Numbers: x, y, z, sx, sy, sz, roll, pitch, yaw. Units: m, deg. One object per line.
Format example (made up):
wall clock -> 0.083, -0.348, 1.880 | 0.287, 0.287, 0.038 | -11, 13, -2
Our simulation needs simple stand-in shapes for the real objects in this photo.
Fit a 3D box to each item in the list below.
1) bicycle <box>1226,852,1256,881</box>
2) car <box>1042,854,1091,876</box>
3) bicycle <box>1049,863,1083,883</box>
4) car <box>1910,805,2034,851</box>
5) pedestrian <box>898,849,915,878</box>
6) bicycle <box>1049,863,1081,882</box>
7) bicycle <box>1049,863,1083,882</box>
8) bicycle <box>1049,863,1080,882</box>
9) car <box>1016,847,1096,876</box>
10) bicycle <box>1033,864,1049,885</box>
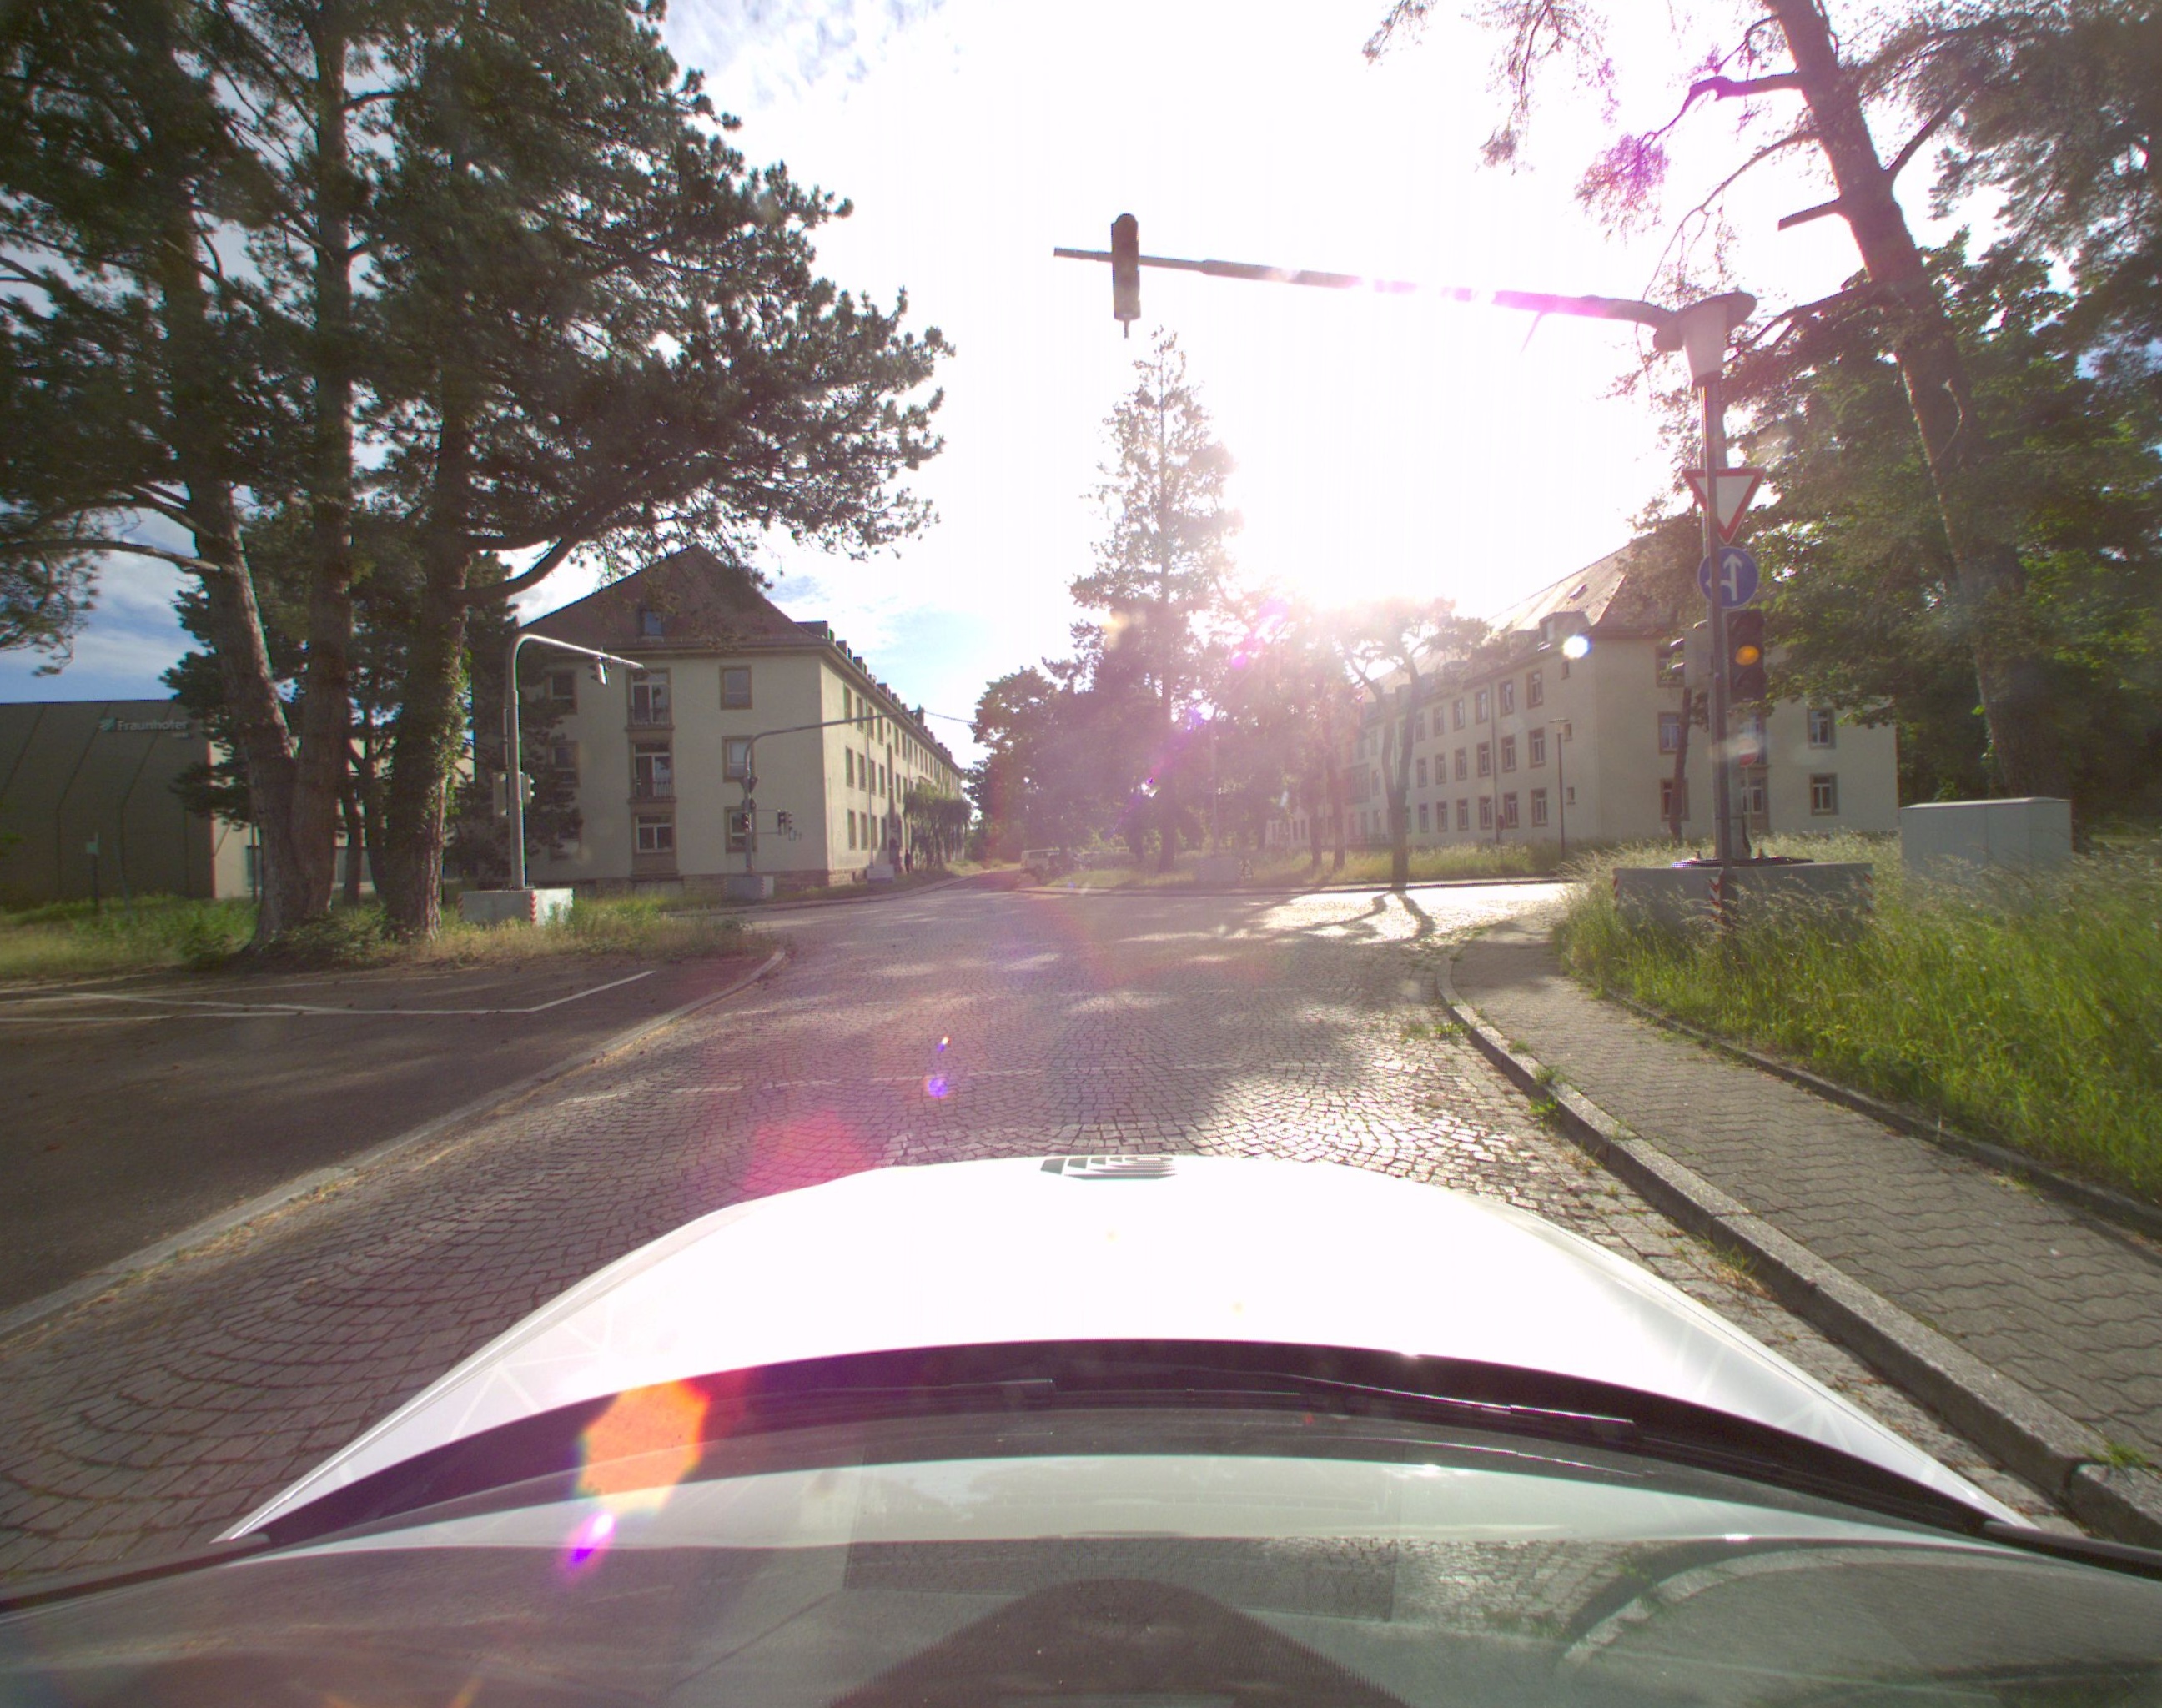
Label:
bicycle -> 5.992, 0.461, 30.632 | 0.561, 0.999, 1.748 | -2, 1, -7
car -> -1.019, 0.777, 56.777 | 3.038, 1.465, 1.711 | -2, -1, -16
bicycle -> -0.796, 1.018, 44.411 | 1.789, 0.999, 0.643 | -2, 1, -4
car -> 54.263, -1.568, 49.659 | 5.145, 2.536, 2.262 | -2, -1, -2
pedestrian -> -12.037, 0.641, 56.111 | 0.983, 1.963, 0.931 | -2, -1, -4
bicycle -> -0.949, 1.050, 46.924 | 1.789, 0.999, 0.643 | -2, 1, -4
bicycle -> -0.845, 1.032, 45.429 | 1.789, 0.999, 0.643 | -2, 1, -4
bicycle -> -0.976, 1.058, 47.662 | 1.789, 0.999, 0.643 | -2, 1, -4
car -> -1.859, 0.537, 60.300 | 5.514, 1.916, 2.241 | -2, -1, -17
bicycle -> -1.997, 1.012, 40.746 | 0.726, 0.999, 1.797 | -2, 1, -3
